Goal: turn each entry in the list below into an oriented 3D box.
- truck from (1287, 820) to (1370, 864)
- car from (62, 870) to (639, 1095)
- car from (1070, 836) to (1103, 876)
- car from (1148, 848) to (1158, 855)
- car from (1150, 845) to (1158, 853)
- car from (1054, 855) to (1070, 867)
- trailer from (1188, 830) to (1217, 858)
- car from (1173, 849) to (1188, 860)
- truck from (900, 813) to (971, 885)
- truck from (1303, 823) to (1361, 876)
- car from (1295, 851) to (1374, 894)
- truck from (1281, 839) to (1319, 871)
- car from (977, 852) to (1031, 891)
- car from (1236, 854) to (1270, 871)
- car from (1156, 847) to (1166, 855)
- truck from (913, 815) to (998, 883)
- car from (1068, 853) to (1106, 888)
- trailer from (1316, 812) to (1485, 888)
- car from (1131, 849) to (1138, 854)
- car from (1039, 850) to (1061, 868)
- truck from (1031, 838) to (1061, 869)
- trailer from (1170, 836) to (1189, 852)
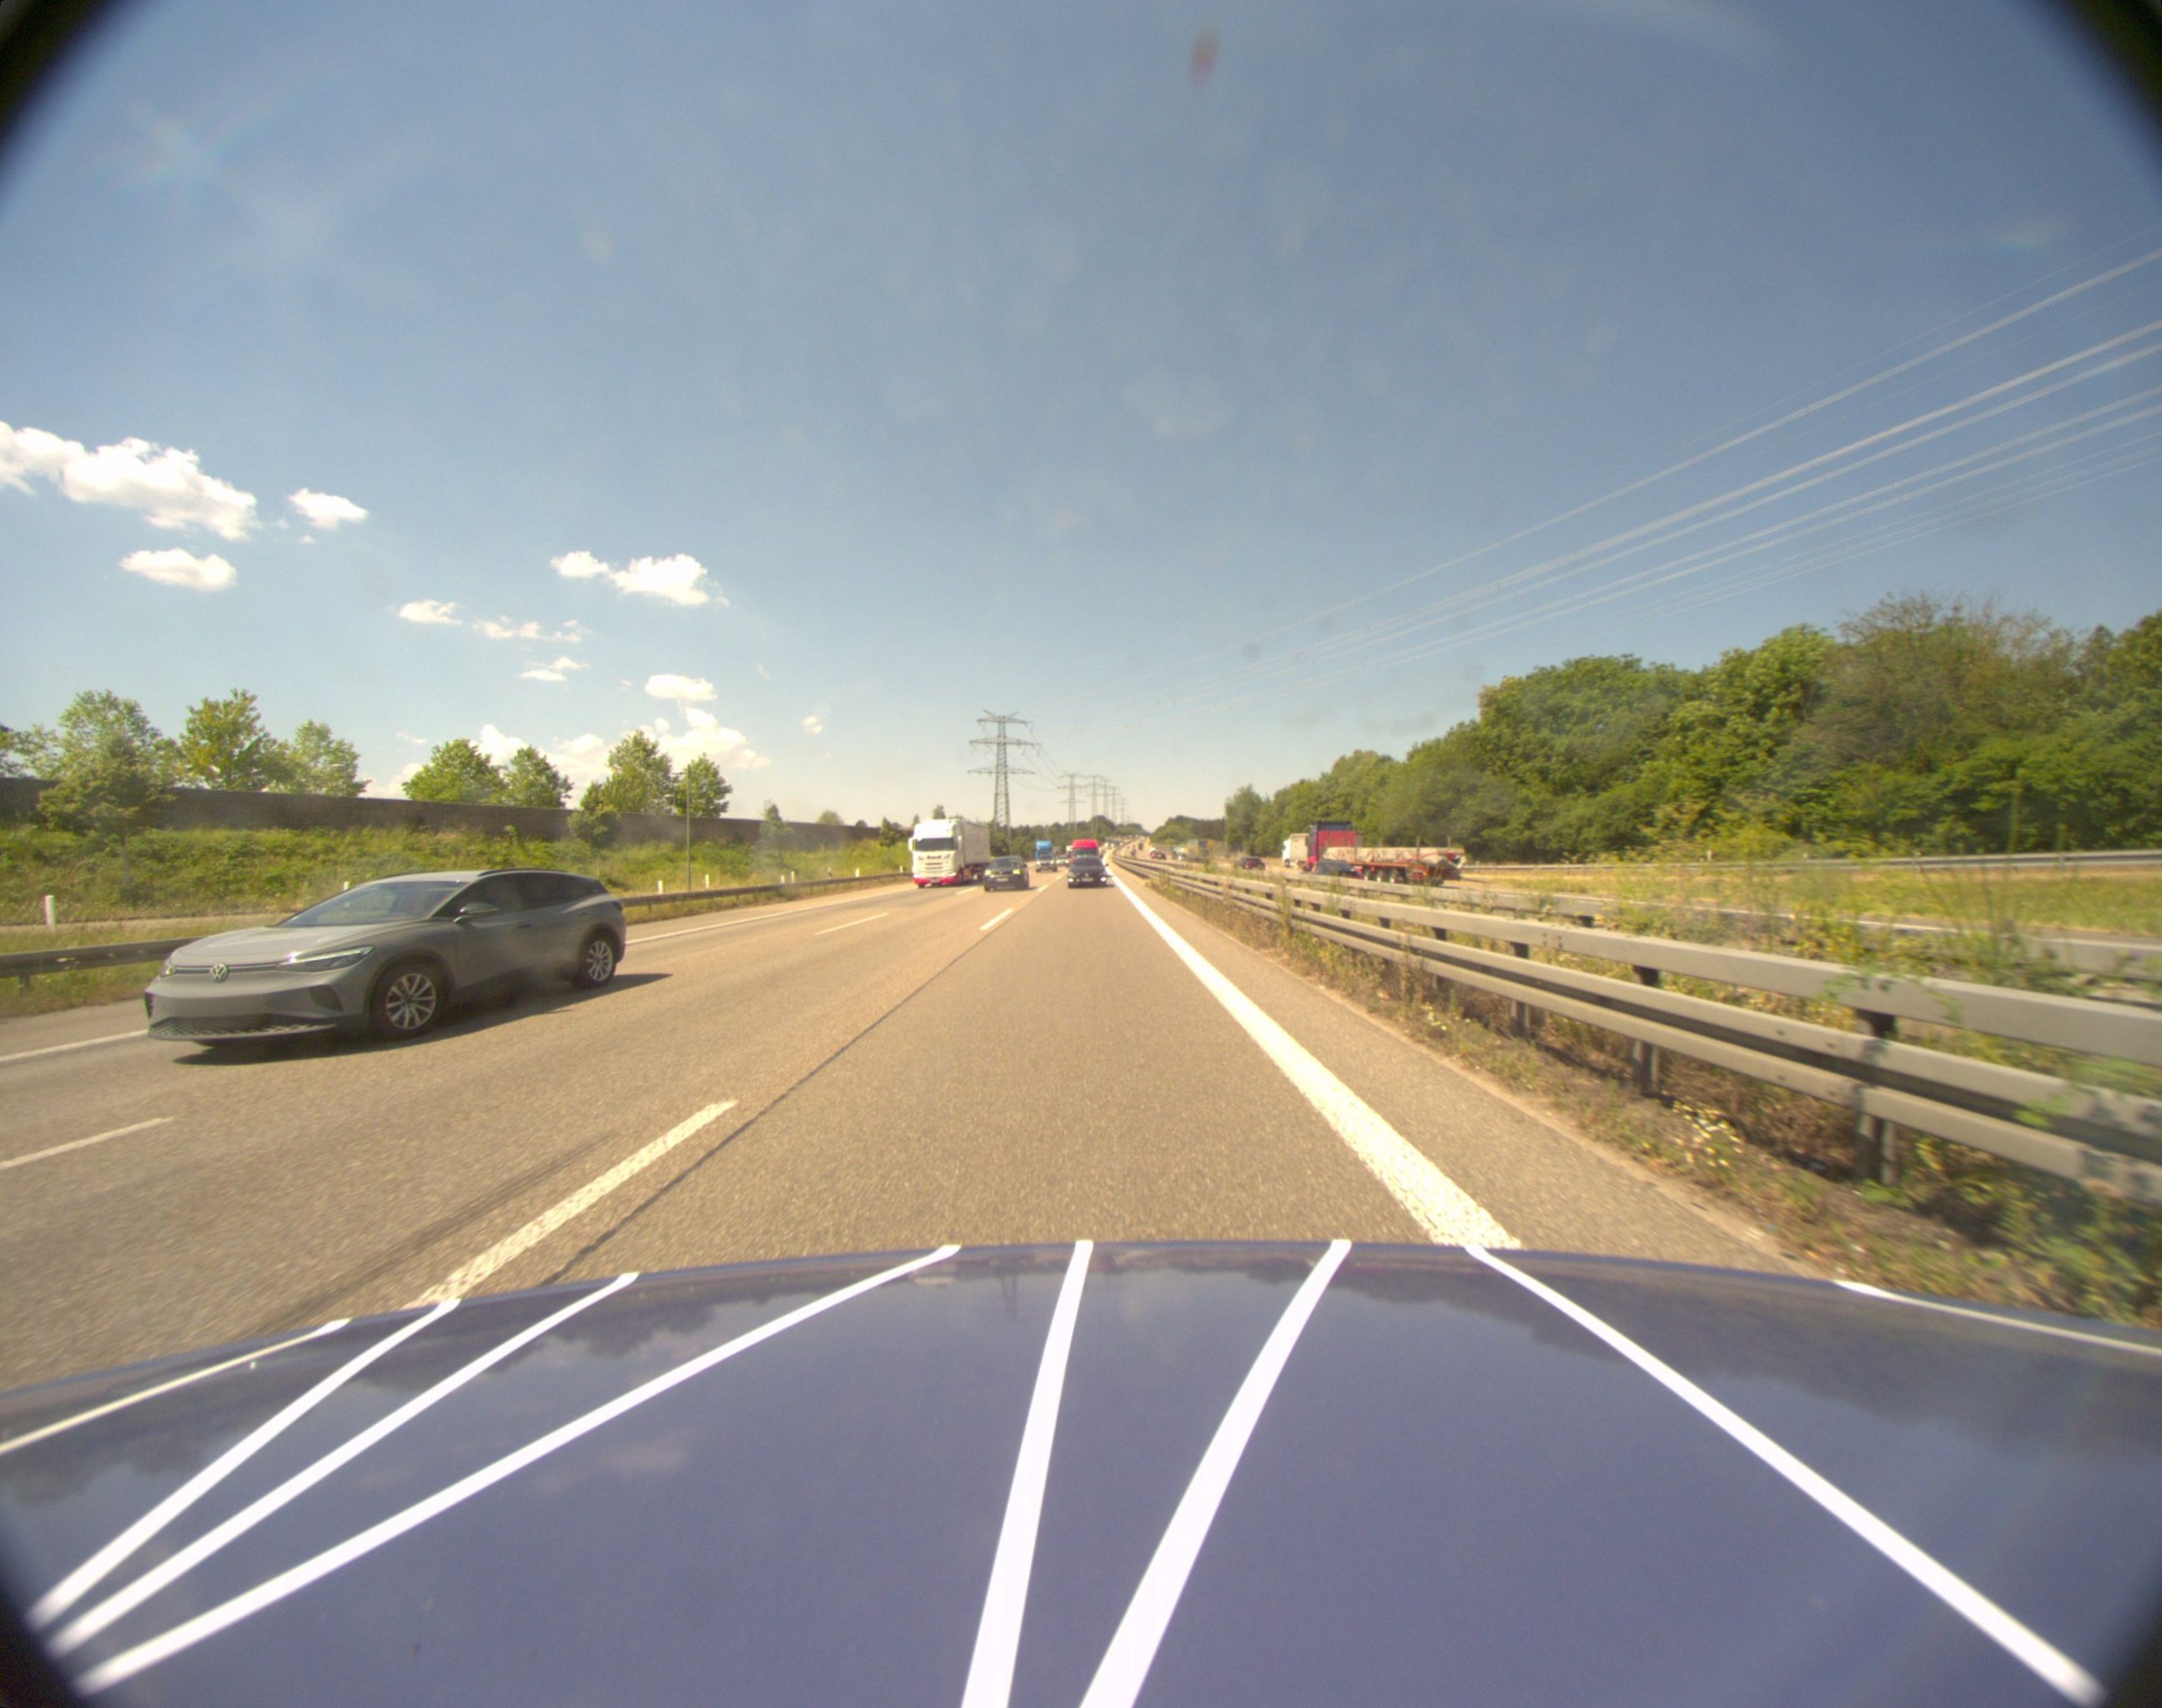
[{"bbox_3d":[27.821,-1.173,86.716,3.005,4.314,14.541,-1,-2,-7],"label":"truck"},{"bbox_3d":[-7.261,1.095,8.457,1.873,1.627,4.585,-2,1,1],"label":"car"},{"bbox_3d":[0.438,0.081,51.802,2.100,2.598,4.496,0,1,2],"label":"car"},{"bbox_3d":[16.801,-0.648,177.753,1.786,1.522,4.384,2,1,1],"label":"car"},{"bbox_3d":[24.840,-1.752,259.511,2.114,2.624,6.004,1,1,1],"label":"car"},{"bbox_3d":[-2.498,0.932,101.724,1.878,1.591,3.688,0,1,2],"label":"car"},{"bbox_3d":[19.757,-1.542,124.392,3.182,4.316,13.814,-1,0,3],"label":"trailer"},{"bbox_3d":[14.671,0.096,112.191,1.786,1.522,3.883,2,1,1],"label":"car"},{"bbox_3d":[-8.258,-0.282,43.686,3.076,3.885,3.847,-2,1,2],"label":"truck"},{"bbox_3d":[17.459,-0.304,53.008,3.003,3.538,3.118,-1,1,0],"label":"truck"},{"bbox_3d":[9.518,0.651,28.850,1.728,1.517,4.000,0,0,1],"label":"car"},{"bbox_3d":[26.966,0.158,93.729,2.953,3.872,4.322,-1,-2,-7],"label":"truck"},{"bbox_3d":[-3.578,0.799,36.148,1.955,1.636,4.047,-3,1,2],"label":"car"},{"bbox_3d":[14.084,0.697,62.505,1.774,1.326,4.921,0,0,1],"label":"car"},{"bbox_3d":[16.227,-0.613,153.999,1.716,1.460,4.147,1,1,3],"label":"car"},{"bbox_3d":[-8.056,-0.329,50.847,3.076,3.885,12.504,-2,0,2],"label":"truck"},{"bbox_3d":[0.347,0.760,36.499,1.735,1.535,3.750,0,1,2],"label":"car"},{"bbox_3d":[17.369,-0.238,43.406,3.003,3.538,16.022,-1,0,1],"label":"trailer"},{"bbox_3d":[16.167,-0.746,229.597,1.786,1.615,4.000,0,1,1],"label":"car"},{"bbox_3d":[-2.959,0.462,72.231,1.749,1.691,4.088,0,1,2],"label":"car"},{"bbox_3d":[-5.910,-0.157,131.791,3.797,4.971,14.924,-2,1,2],"label":"truck"},{"bbox_3d":[20.659,-2.115,159.384,2.921,3.281,9.710,-1,0,1],"label":"trailer"}]
